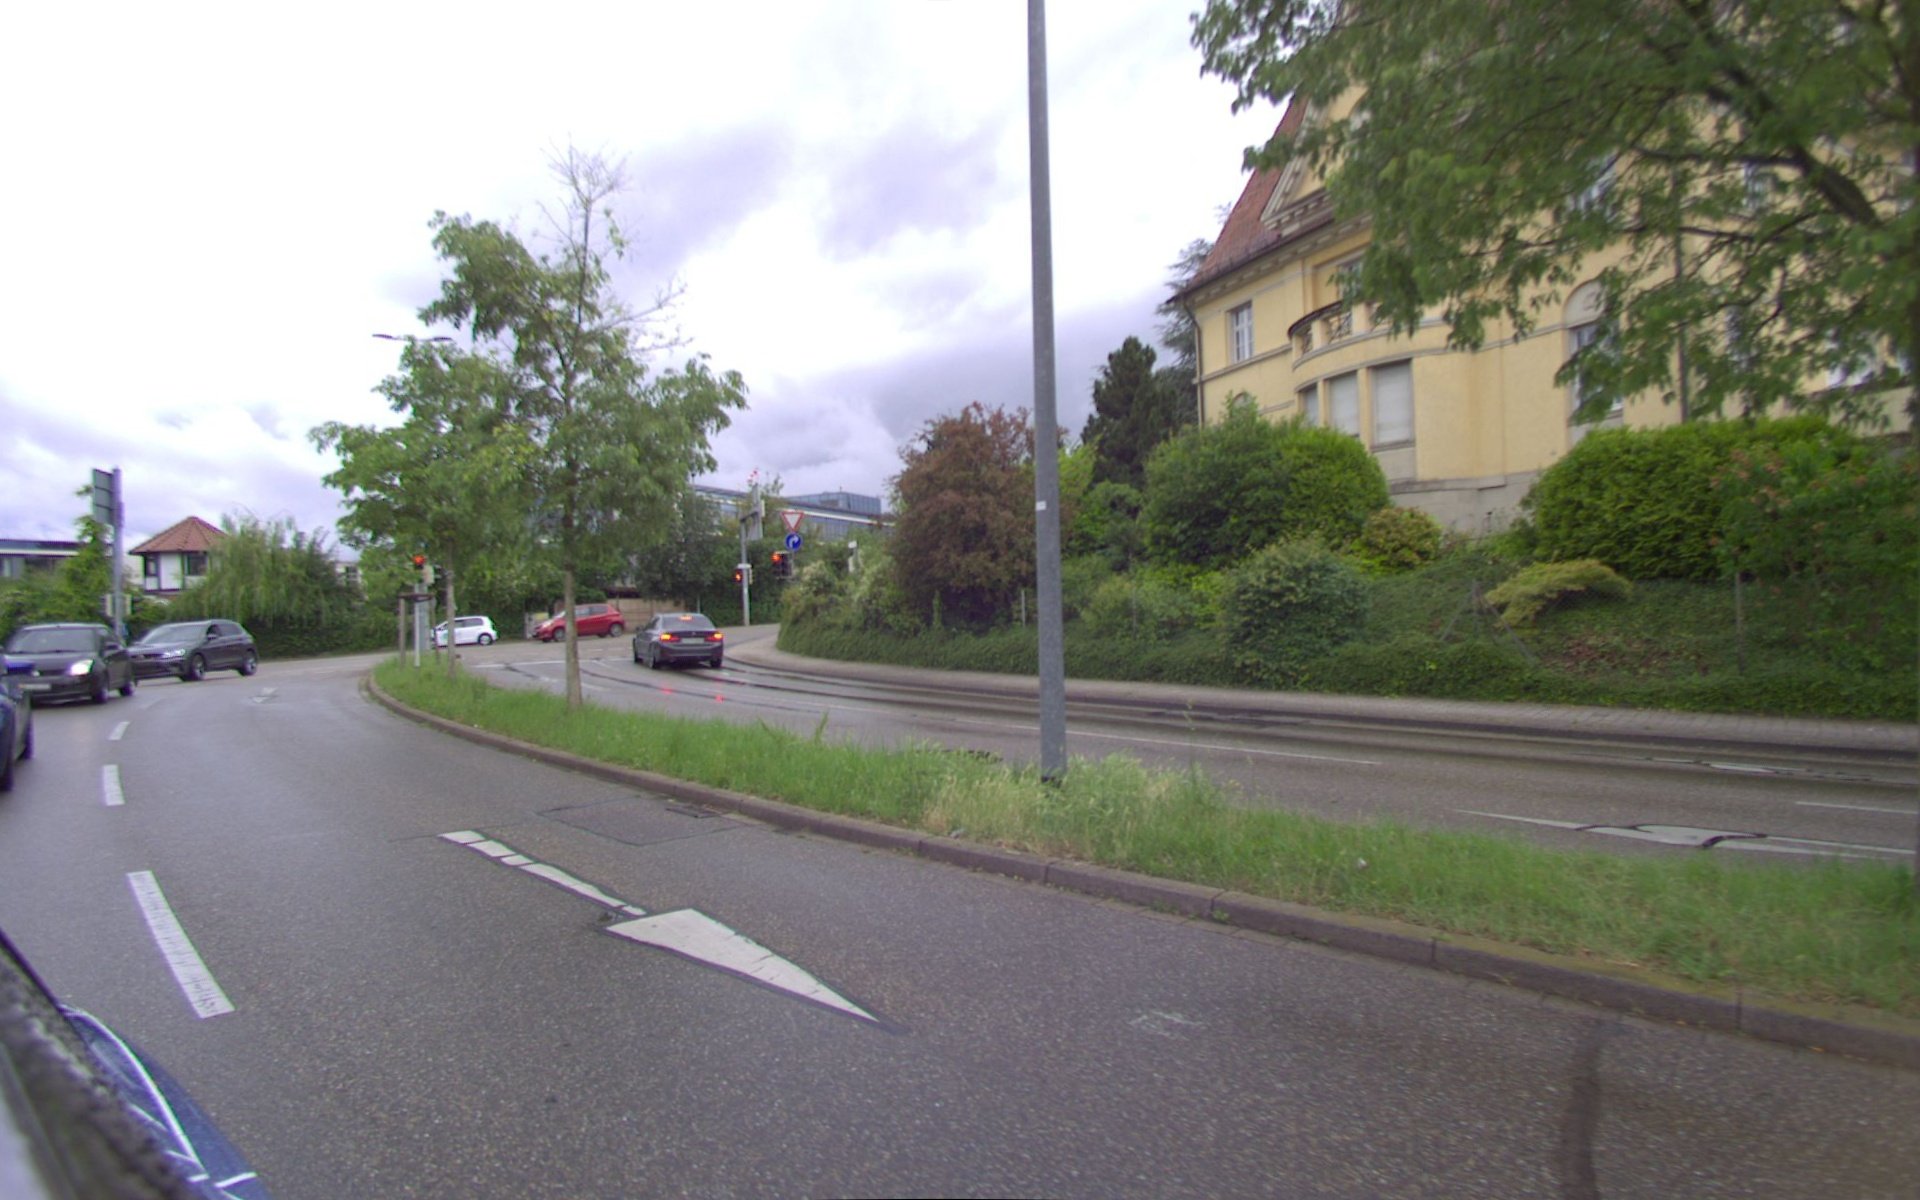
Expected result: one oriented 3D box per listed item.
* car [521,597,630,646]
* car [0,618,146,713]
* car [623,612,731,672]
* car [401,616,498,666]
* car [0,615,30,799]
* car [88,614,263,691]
[{"bbox_3d":[-16.644,0.900,43.852,3.938,1.739,1.872,-5,0,-40],"label":"car"},{"bbox_3d":[-17.083,1.221,19.233,1.718,1.530,4.012,-5,0,-28],"label":"car"},{"bbox_3d":[-7.743,1.125,27.383,1.965,1.449,4.562,0,-2,-26],"label":"car"},{"bbox_3d":[-24.603,1.953,48.953,3.932,2.028,2.006,-5,0,-23],"label":"car"},{"bbox_3d":[-9.939,0.927,9.278,1.885,1.507,4.356,-1,-1,-40],"label":"car"},{"bbox_3d":[-21.269,1.343,27.694,1.937,1.763,4.317,-5,0,-11],"label":"car"}]
